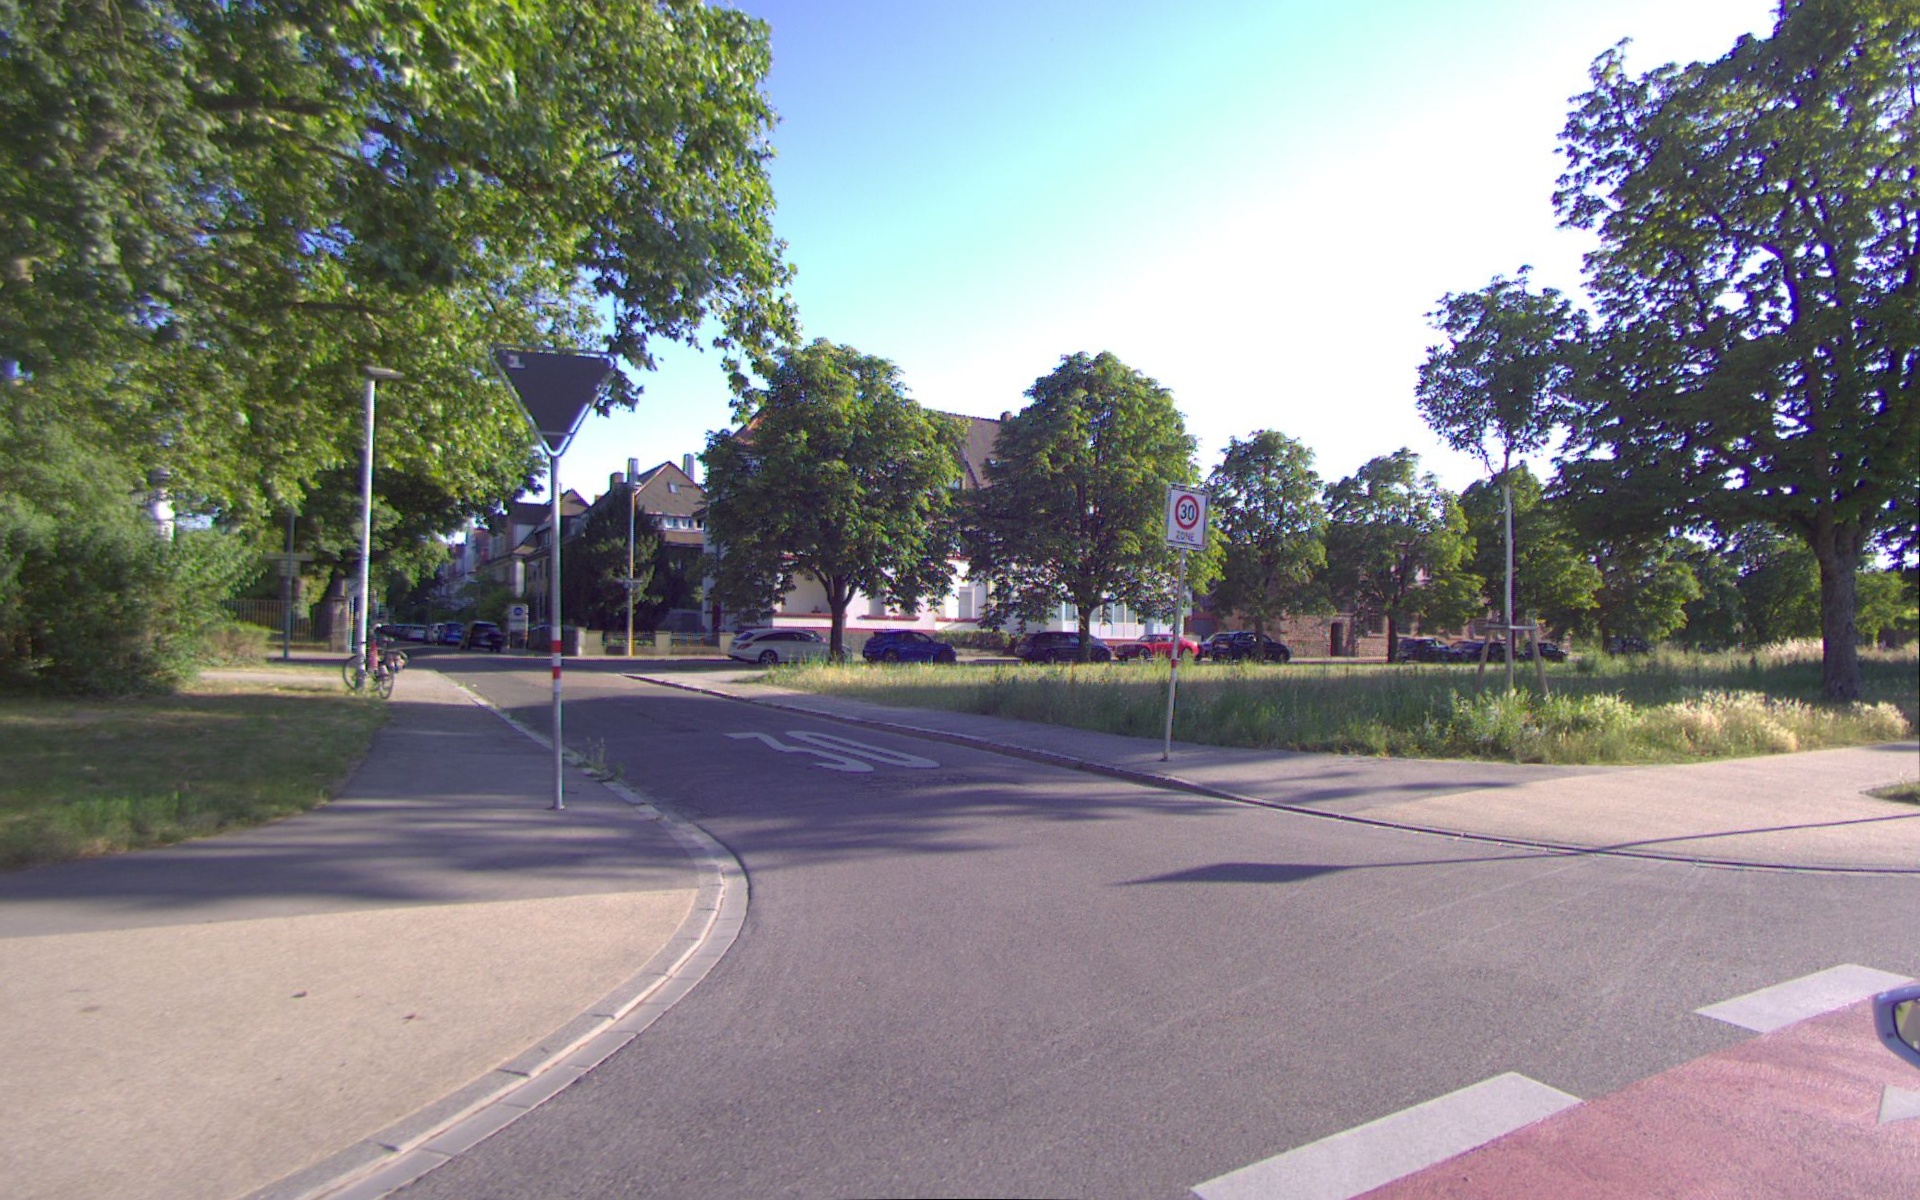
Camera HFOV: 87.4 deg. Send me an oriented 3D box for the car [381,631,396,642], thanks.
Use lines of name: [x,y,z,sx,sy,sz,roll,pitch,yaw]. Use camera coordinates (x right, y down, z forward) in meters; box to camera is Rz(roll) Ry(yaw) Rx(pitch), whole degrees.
car: [-85.524,5.507,150.224,1.812,1.576,3.967,2,-2,-31]

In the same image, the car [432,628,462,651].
car: [-36.584,2.779,71.674,1.810,1.576,3.972,2,-2,-27]

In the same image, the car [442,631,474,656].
car: [-33.316,2.888,66.666,1.810,1.576,3.972,2,-2,-27]

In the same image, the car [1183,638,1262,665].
car: [14.782,2.914,56.525,4.424,1.350,1.564,2,-1,-29]

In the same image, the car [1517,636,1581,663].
car: [37.296,3.146,63.563,4.172,1.618,1.684,2,-1,-31]

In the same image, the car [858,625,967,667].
car: [-1.940,1.903,41.286,4.176,1.618,1.683,2,-1,-33]

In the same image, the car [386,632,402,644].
car: [-80.857,5.389,143.477,1.812,1.576,3.967,2,-2,-31]

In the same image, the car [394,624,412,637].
car: [-67.573,3.663,121.974,1.811,1.576,3.970,2,-2,-28]

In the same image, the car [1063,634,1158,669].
car: [6.877,2.357,45.820,4.174,1.496,1.683,2,-1,-32]

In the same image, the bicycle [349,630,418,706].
bicycle: [-9.772,1.128,17.009,1.564,1.202,0.418,0,-2,39]

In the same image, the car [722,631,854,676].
car: [-6.583,2.047,38.603,4.705,1.618,1.683,2,-1,-33]

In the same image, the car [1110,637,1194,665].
car: [10.342,2.749,54.010,4.424,1.350,1.564,2,-1,-29]

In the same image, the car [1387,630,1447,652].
car: [30.135,2.708,66.234,3.953,1.424,1.621,2,-1,-30]

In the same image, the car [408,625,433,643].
car: [-48.550,3.072,90.353,1.813,1.576,3.966,2,-2,-31]

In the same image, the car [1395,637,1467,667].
car: [27.022,2.988,57.635,4.172,1.618,1.684,2,-1,-31]

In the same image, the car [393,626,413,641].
car: [-59.128,3.536,106.653,1.812,1.576,3.968,2,-2,-30]

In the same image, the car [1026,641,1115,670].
car: [5.658,2.821,51.402,4.425,1.350,1.564,2,-1,-29]

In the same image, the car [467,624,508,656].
car: [-24.945,2.086,52.981,1.810,1.576,3.972,2,-2,-27]

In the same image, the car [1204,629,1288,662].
car: [14.466,2.305,50.753,4.172,1.618,1.684,2,-1,-31]

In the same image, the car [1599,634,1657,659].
car: [45.849,3.197,68.934,4.172,1.618,1.684,2,-1,-31]

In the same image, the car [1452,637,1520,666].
car: [31.797,3.112,60.663,4.172,1.618,1.684,2,-1,-31]
